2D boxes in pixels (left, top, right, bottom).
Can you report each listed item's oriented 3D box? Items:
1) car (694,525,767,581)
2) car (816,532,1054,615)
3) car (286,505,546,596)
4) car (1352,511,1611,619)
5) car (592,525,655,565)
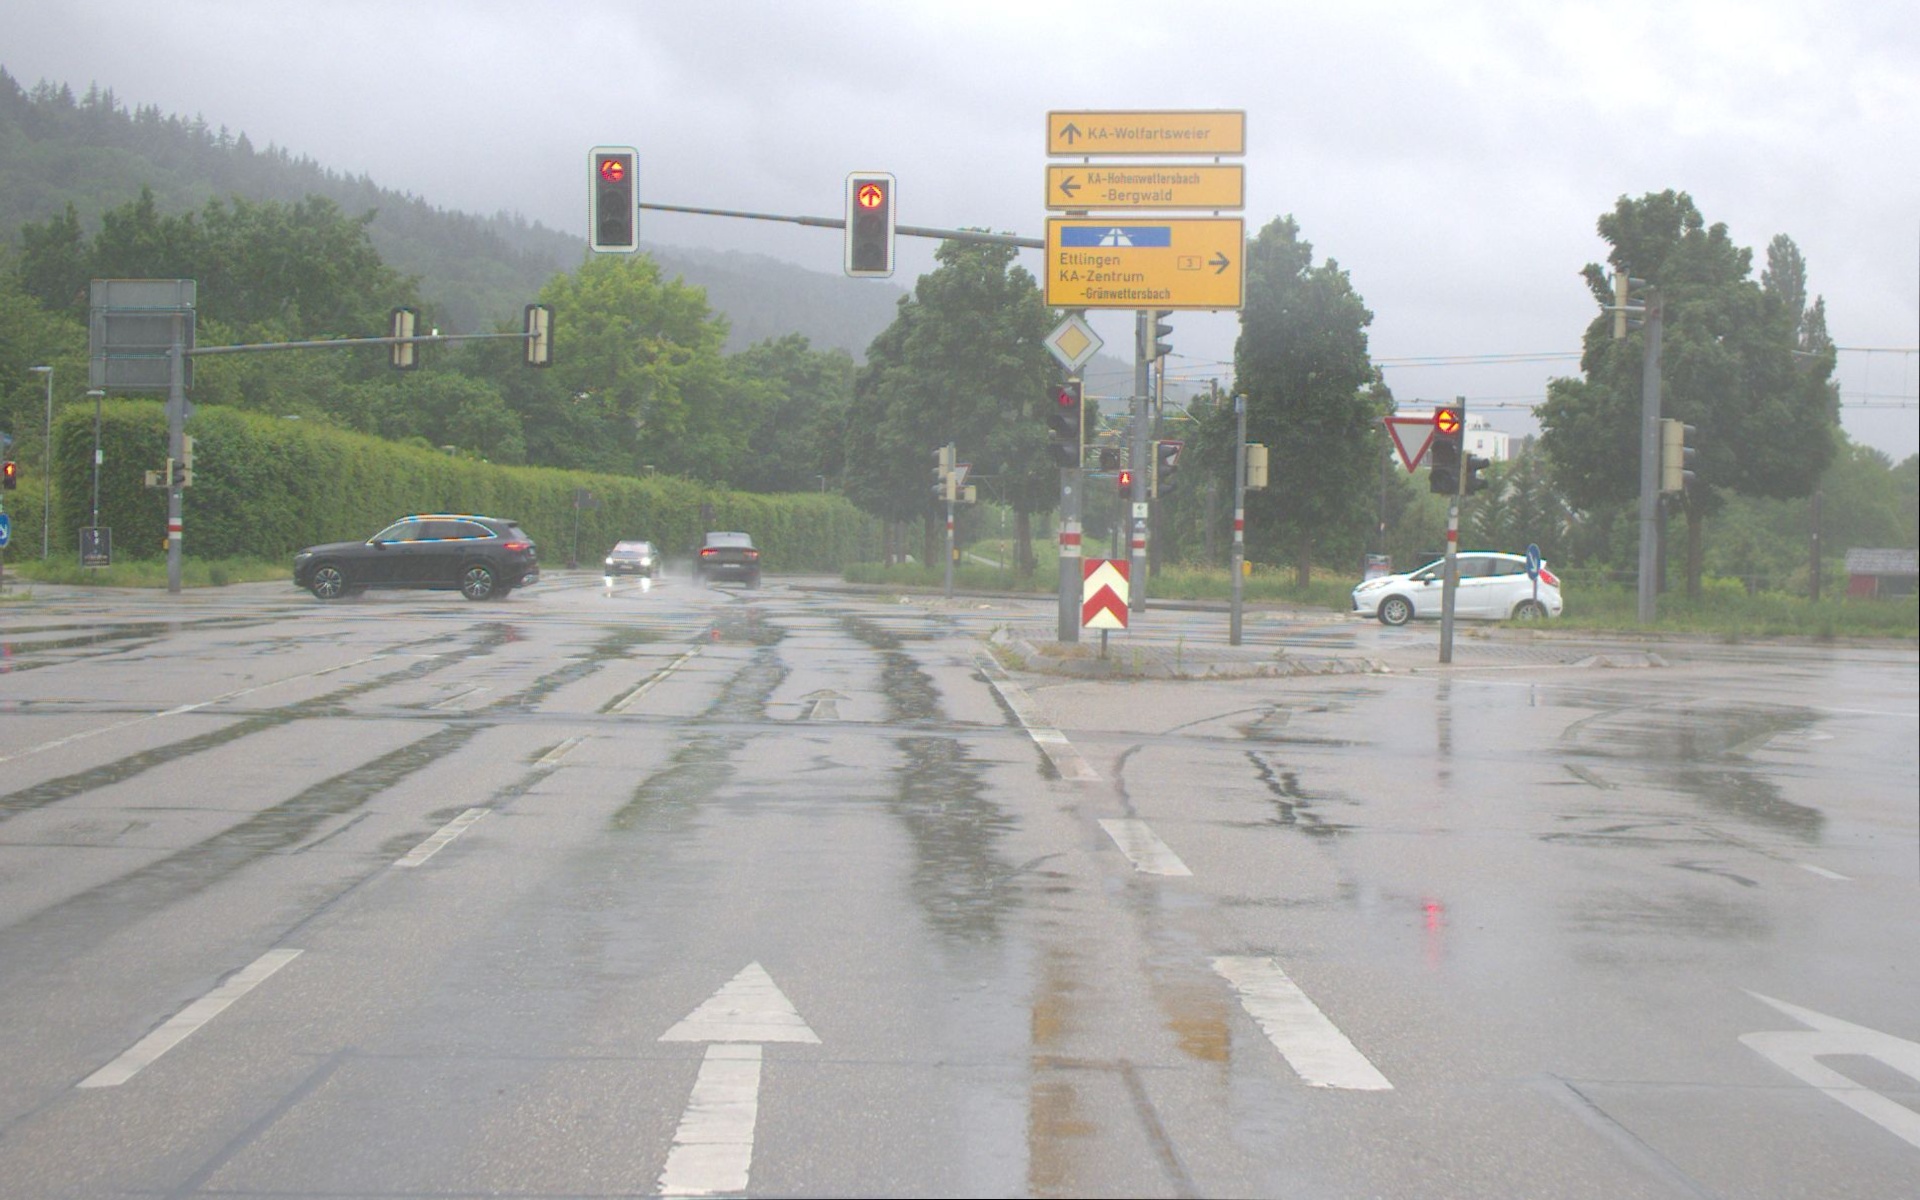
[{"bbox_3d":[-6.659,-1.384,100.173,1.879,1.568,4.645,-1,1,-1],"label":"car"},{"bbox_3d":[-0.479,-0.540,68.941,4.670,1.548,1.822,1,2,2],"label":"car"},{"bbox_3d":[-10.454,-0.968,66.237,4.670,1.633,1.822,1,2,2],"label":"car"},{"bbox_3d":[9.822,-0.679,64.990,4.670,1.909,1.915,1,2,4],"label":"car"},{"bbox_3d":[-13.482,-2.225,137.957,1.879,1.568,4.645,-1,1,2],"label":"car"}]
